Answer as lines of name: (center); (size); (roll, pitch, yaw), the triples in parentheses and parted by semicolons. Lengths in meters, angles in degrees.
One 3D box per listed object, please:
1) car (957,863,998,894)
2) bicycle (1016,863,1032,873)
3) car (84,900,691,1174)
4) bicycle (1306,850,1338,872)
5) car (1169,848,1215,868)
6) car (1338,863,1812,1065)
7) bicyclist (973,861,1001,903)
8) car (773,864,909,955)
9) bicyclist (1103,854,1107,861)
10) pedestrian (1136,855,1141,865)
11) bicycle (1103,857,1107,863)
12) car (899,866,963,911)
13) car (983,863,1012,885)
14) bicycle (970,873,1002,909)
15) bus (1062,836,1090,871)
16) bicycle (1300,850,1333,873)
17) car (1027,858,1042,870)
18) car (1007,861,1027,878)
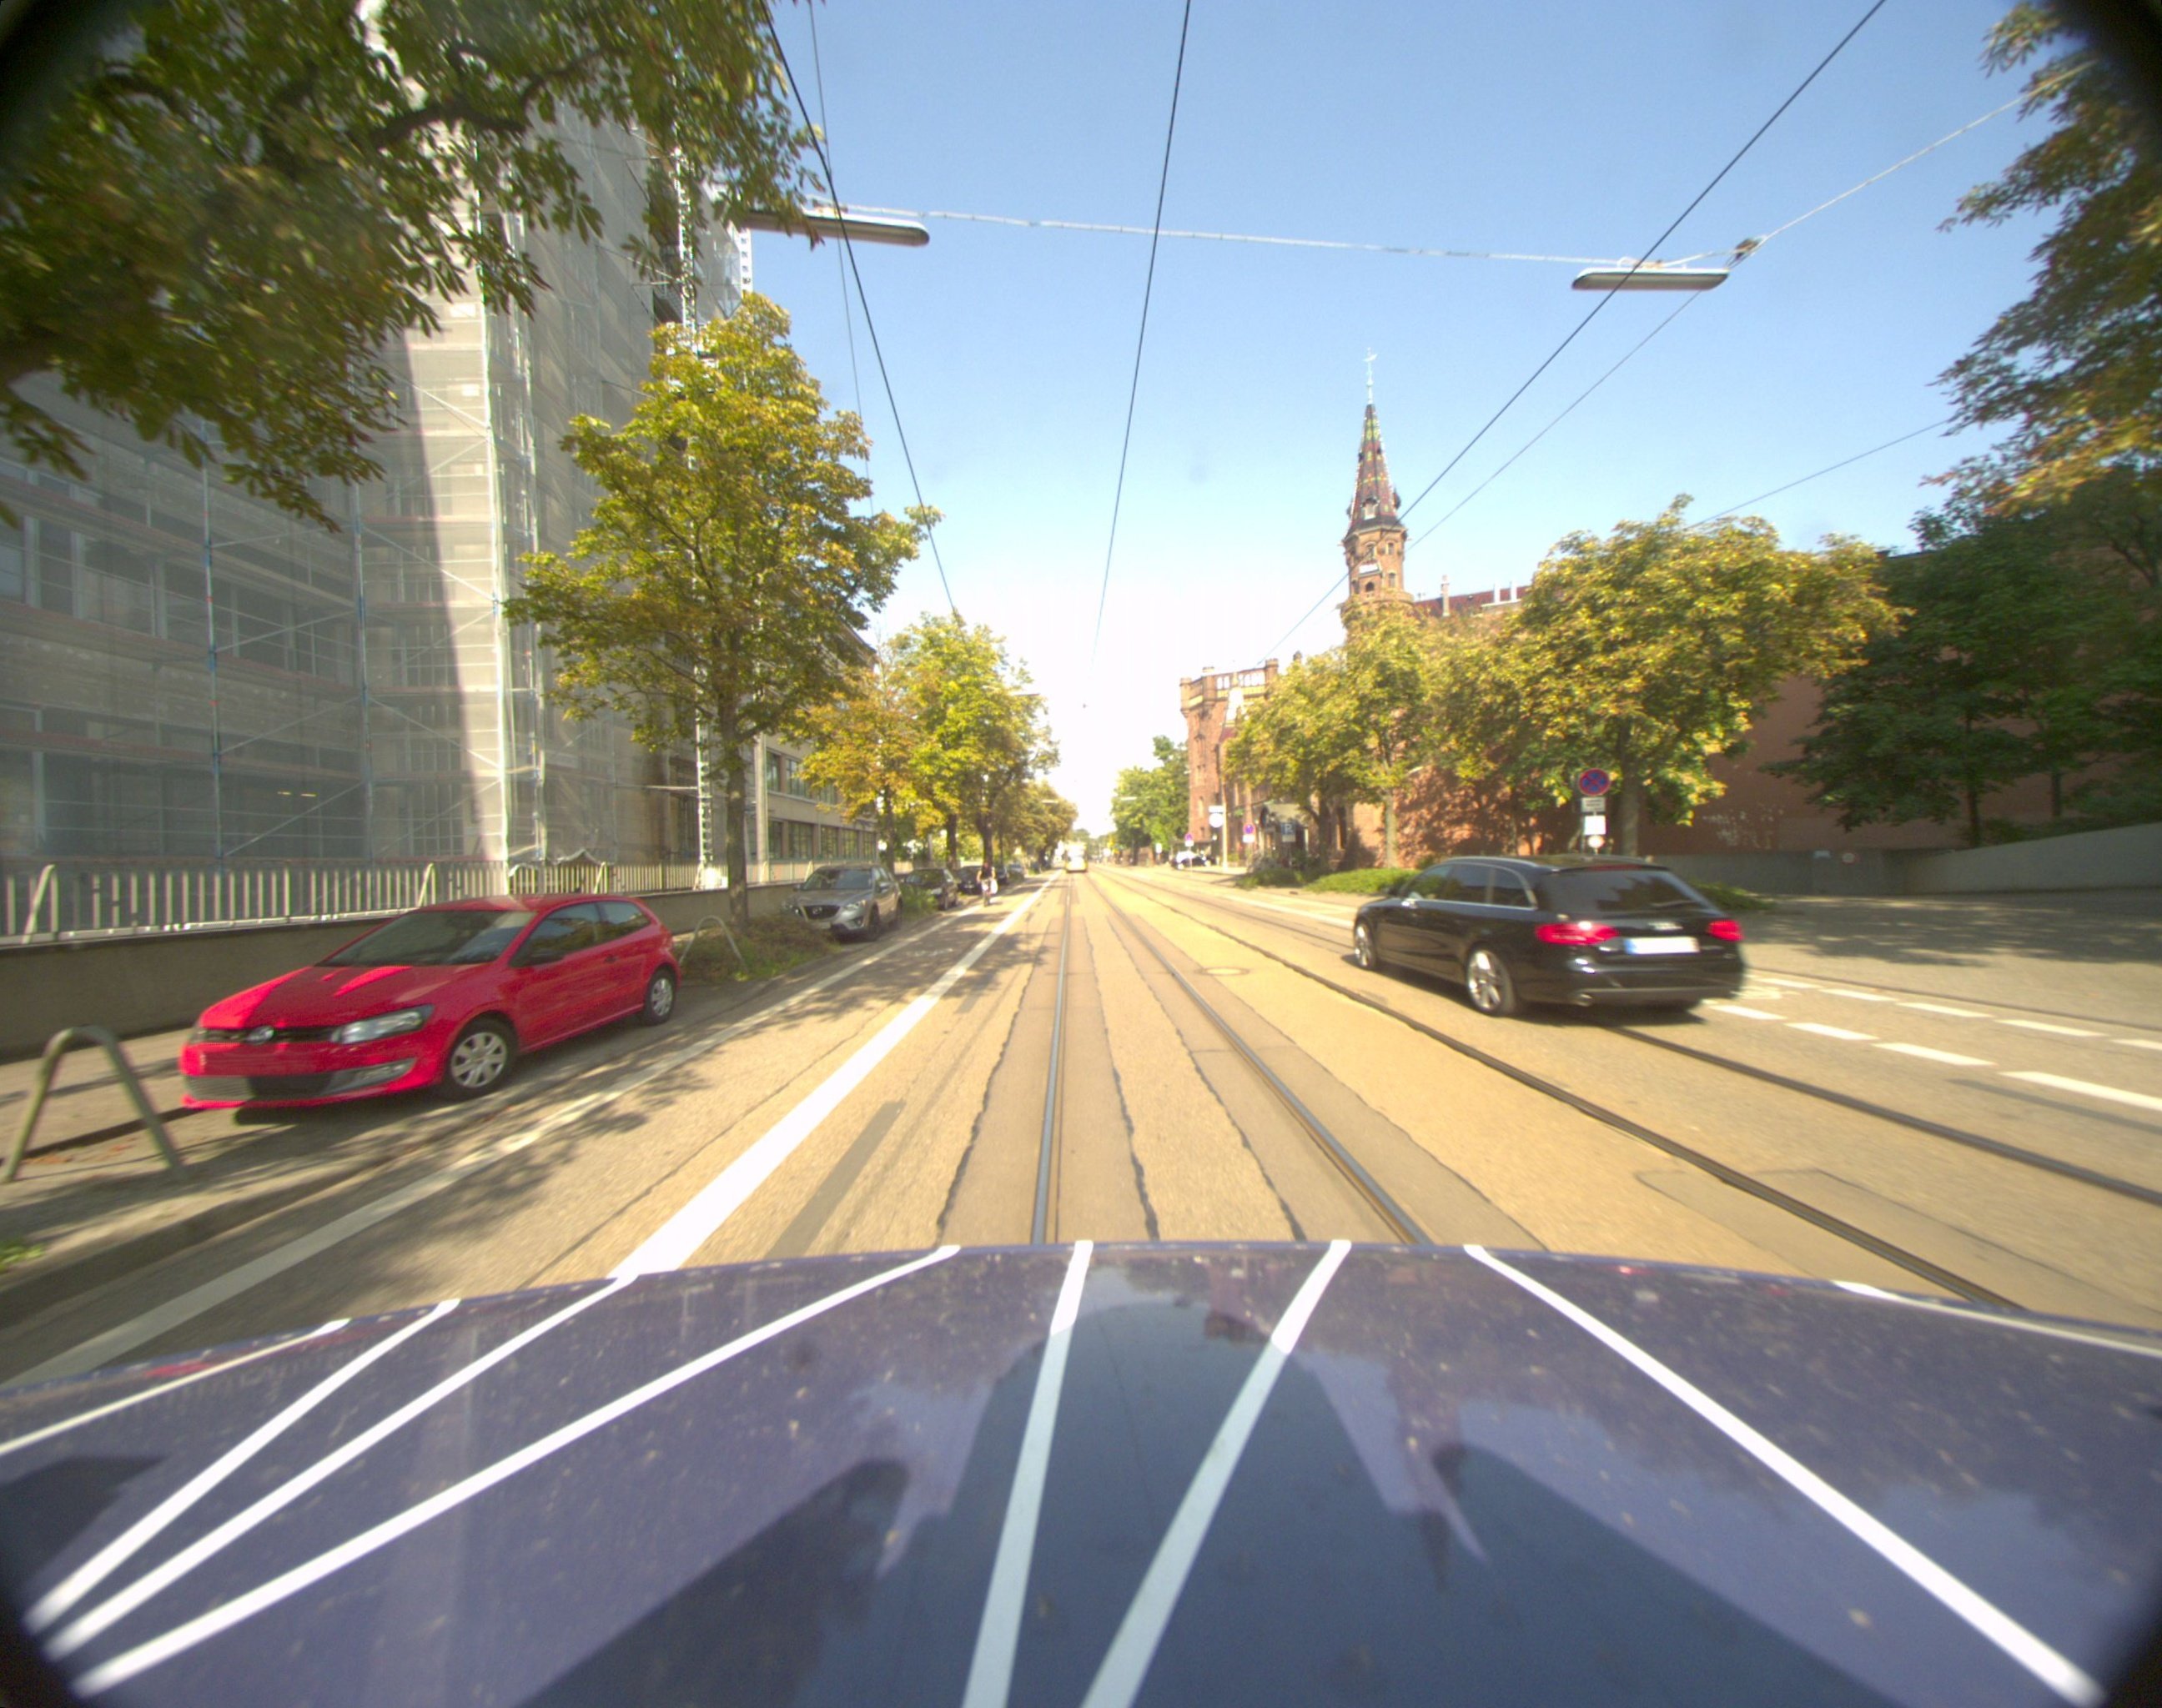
car: (-5.356, 1.270, 39.828); (1.650, 1.502, 3.778); (0, 0, 0)
bicycle: (-6.222, 1.489, 83.084); (1.773, 1.057, 0.796); (0, 0, -3)
car: (-5.255, 1.238, 6.642); (1.620, 1.405, 4.000); (-1, 0, 0)
bicycle: (13.467, 0.379, 42.466); (1.810, 1.068, 0.420); (-7, 2, -23)
car: (11.712, 0.460, 80.258); (4.408, 1.636, 1.957); (-6, 0, 0)
car: (4.381, 0.831, 7.798); (1.833, 1.368, 4.512); (-1, 0, -1)
bicyclist: (-3.420, 1.013, 27.697); (0.789, 1.461, 1.116); (-2, 0, 1)
car: (-5.187, 1.121, 17.041); (1.758, 1.681, 4.395); (-2, 0, -2)
bicyclist: (5.039, 0.743, 162.298); (0.699, 1.571, 1.087); (-2, 2, -3)
pedestrian: (9.845, 1.047, 129.681); (0.717, 1.580, 0.775); (-2, 1, -1)
bicycle: (5.046, 1.237, 162.332); (0.699, 1.151, 2.037); (-1, 1, -3)
car: (-5.342, 1.191, 27.516); (1.580, 1.476, 3.738); (0, 0, 0)
car: (-5.708, 1.319, 52.134); (1.650, 1.420, 4.084); (0, 0, -2)
bicycle: (-3.411, 1.315, 27.389); (0.789, 1.138, 2.305); (-2, 0, 1)
bus: (-0.525, -0.075, 89.858); (2.901, 3.771, 9.319); (-2, 0, 2)
bicycle: (13.295, 0.427, 42.898); (1.810, 1.068, 0.420); (-7, 2, -23)
car: (-6.147, 1.257, 101.051); (1.745, 1.477, 4.436); (-2, 0, -2)
car: (-5.963, 1.398, 70.671); (1.644, 1.421, 3.988); (-1, 0, -2)
